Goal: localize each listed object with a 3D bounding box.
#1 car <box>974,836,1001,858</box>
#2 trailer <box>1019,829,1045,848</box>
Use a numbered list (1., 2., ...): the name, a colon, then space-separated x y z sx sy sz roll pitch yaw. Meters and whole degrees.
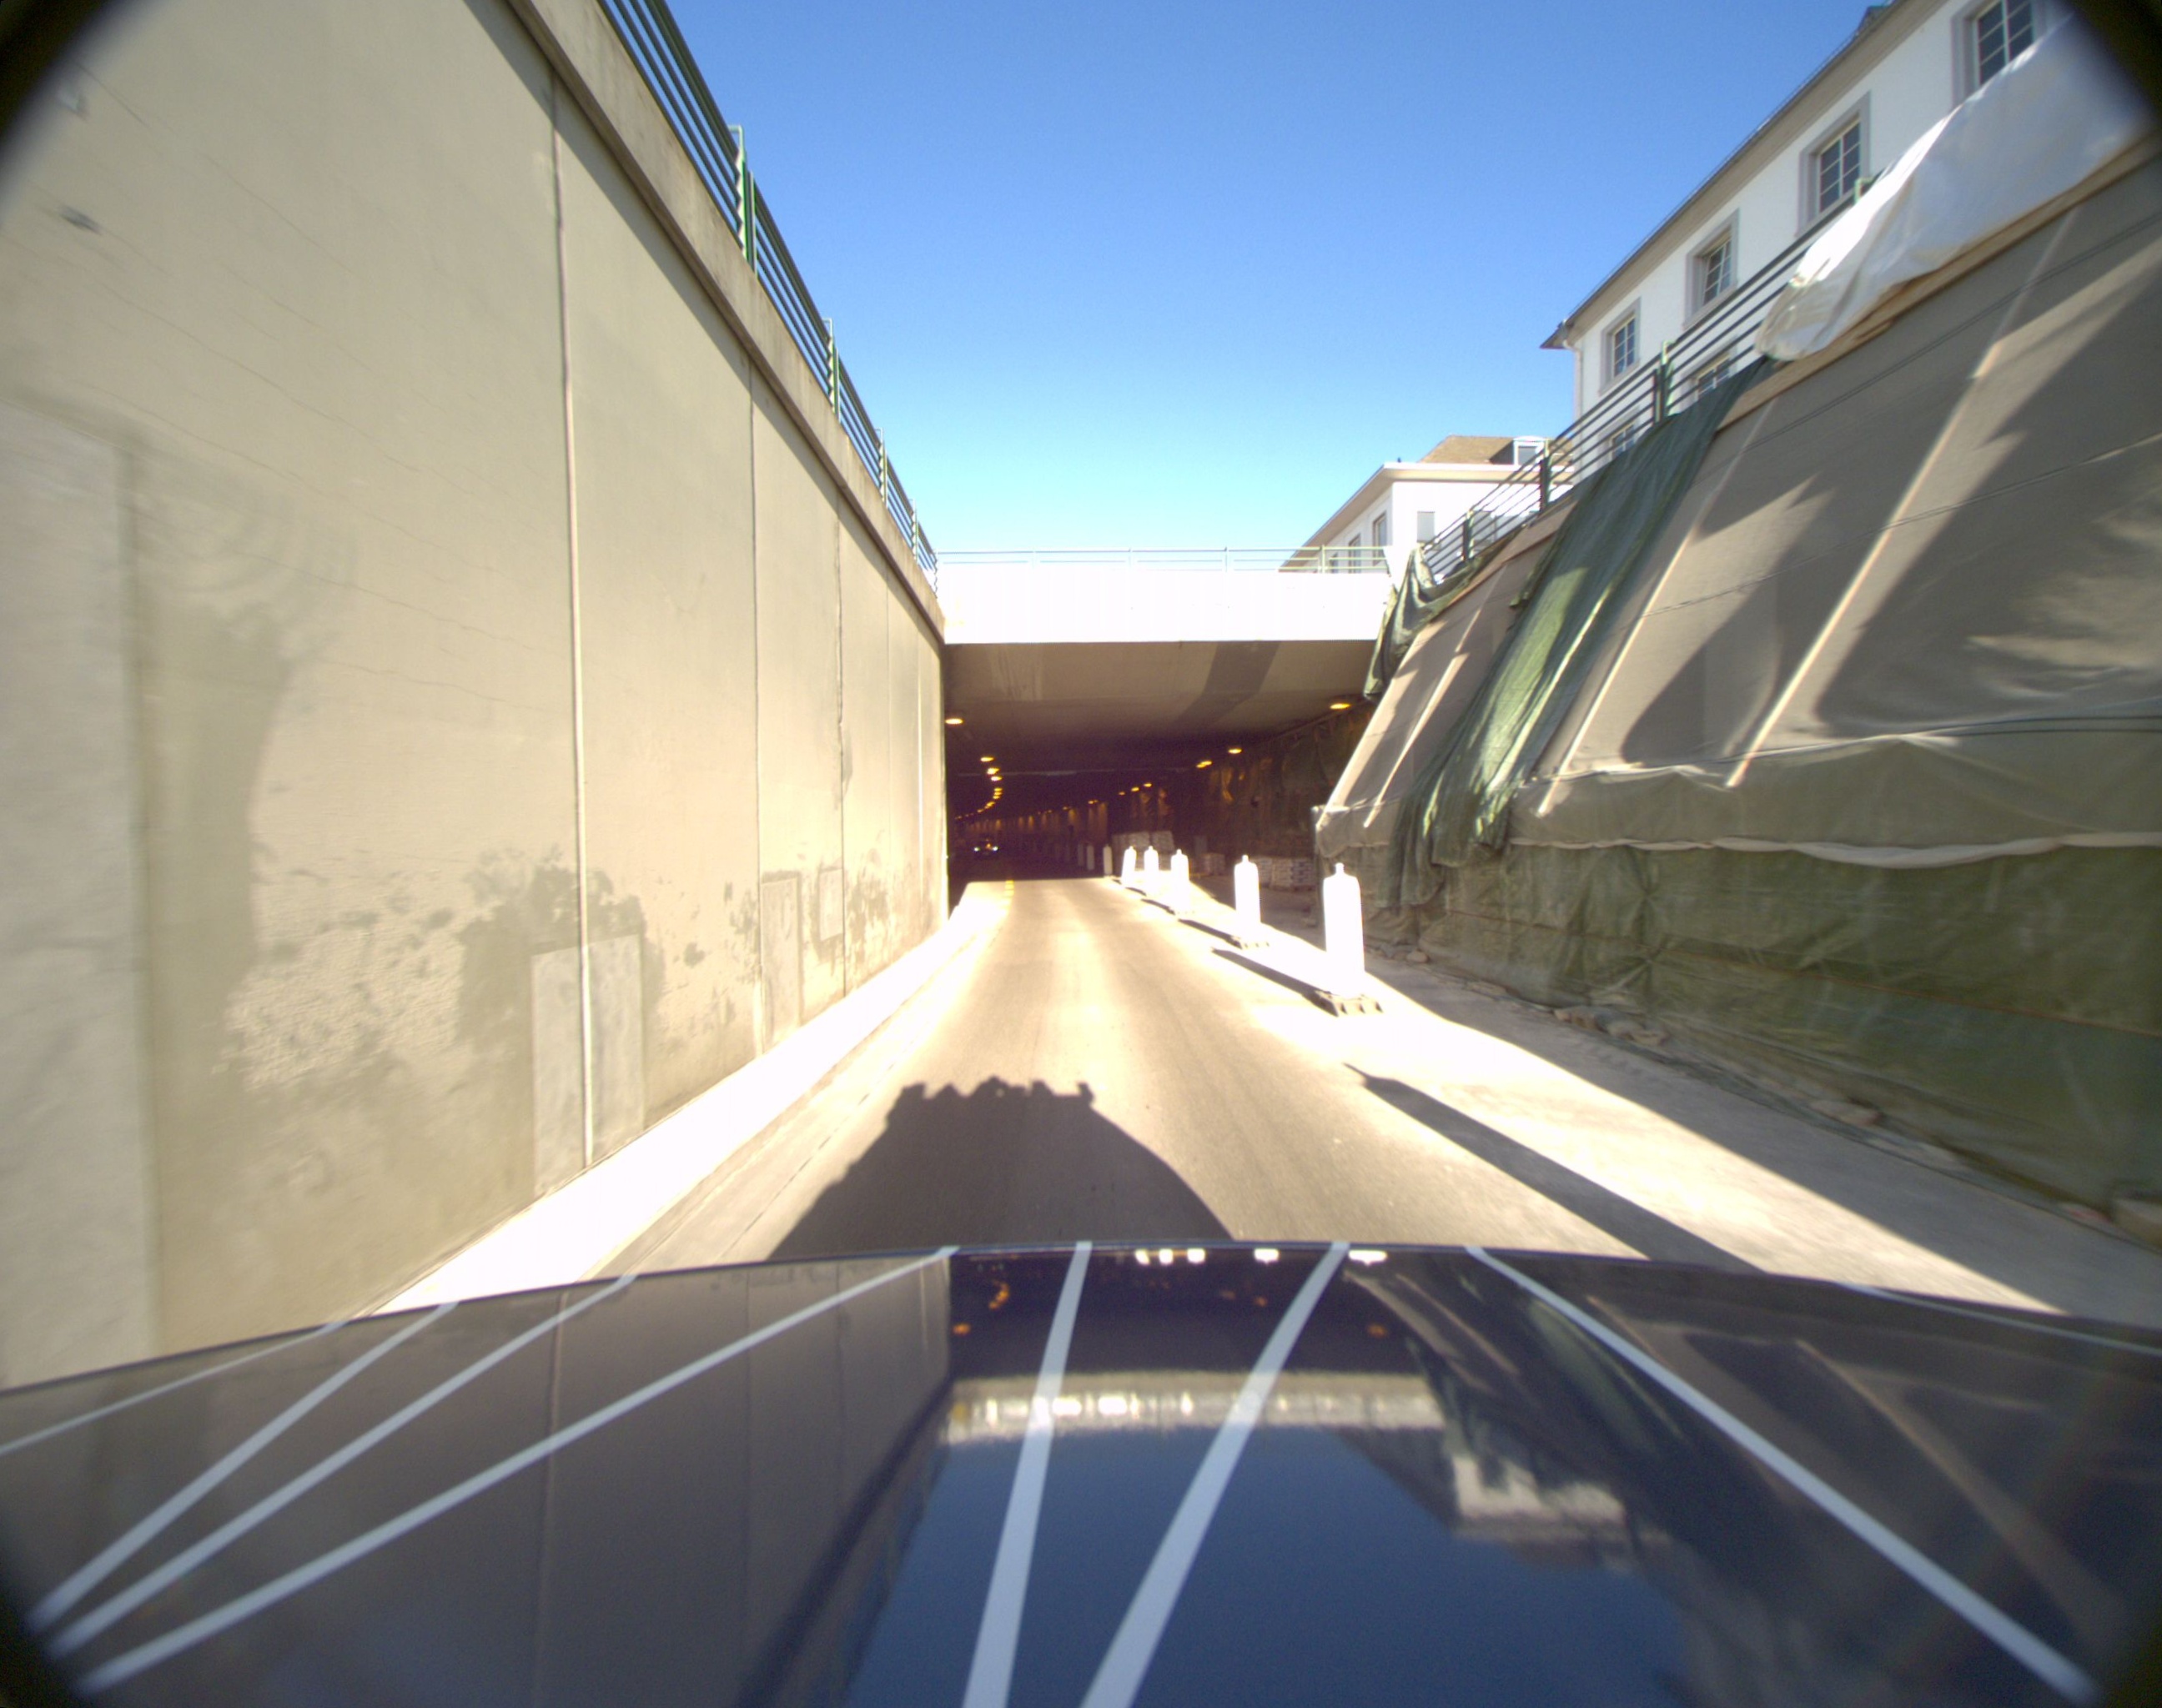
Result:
1. car: -7.258 -0.561 59.032 1.897 1.537 4.236 -2 3 -7
2. trailer: -5.751 -1.829 88.350 2.217 2.003 3.460 -3 3 -17
